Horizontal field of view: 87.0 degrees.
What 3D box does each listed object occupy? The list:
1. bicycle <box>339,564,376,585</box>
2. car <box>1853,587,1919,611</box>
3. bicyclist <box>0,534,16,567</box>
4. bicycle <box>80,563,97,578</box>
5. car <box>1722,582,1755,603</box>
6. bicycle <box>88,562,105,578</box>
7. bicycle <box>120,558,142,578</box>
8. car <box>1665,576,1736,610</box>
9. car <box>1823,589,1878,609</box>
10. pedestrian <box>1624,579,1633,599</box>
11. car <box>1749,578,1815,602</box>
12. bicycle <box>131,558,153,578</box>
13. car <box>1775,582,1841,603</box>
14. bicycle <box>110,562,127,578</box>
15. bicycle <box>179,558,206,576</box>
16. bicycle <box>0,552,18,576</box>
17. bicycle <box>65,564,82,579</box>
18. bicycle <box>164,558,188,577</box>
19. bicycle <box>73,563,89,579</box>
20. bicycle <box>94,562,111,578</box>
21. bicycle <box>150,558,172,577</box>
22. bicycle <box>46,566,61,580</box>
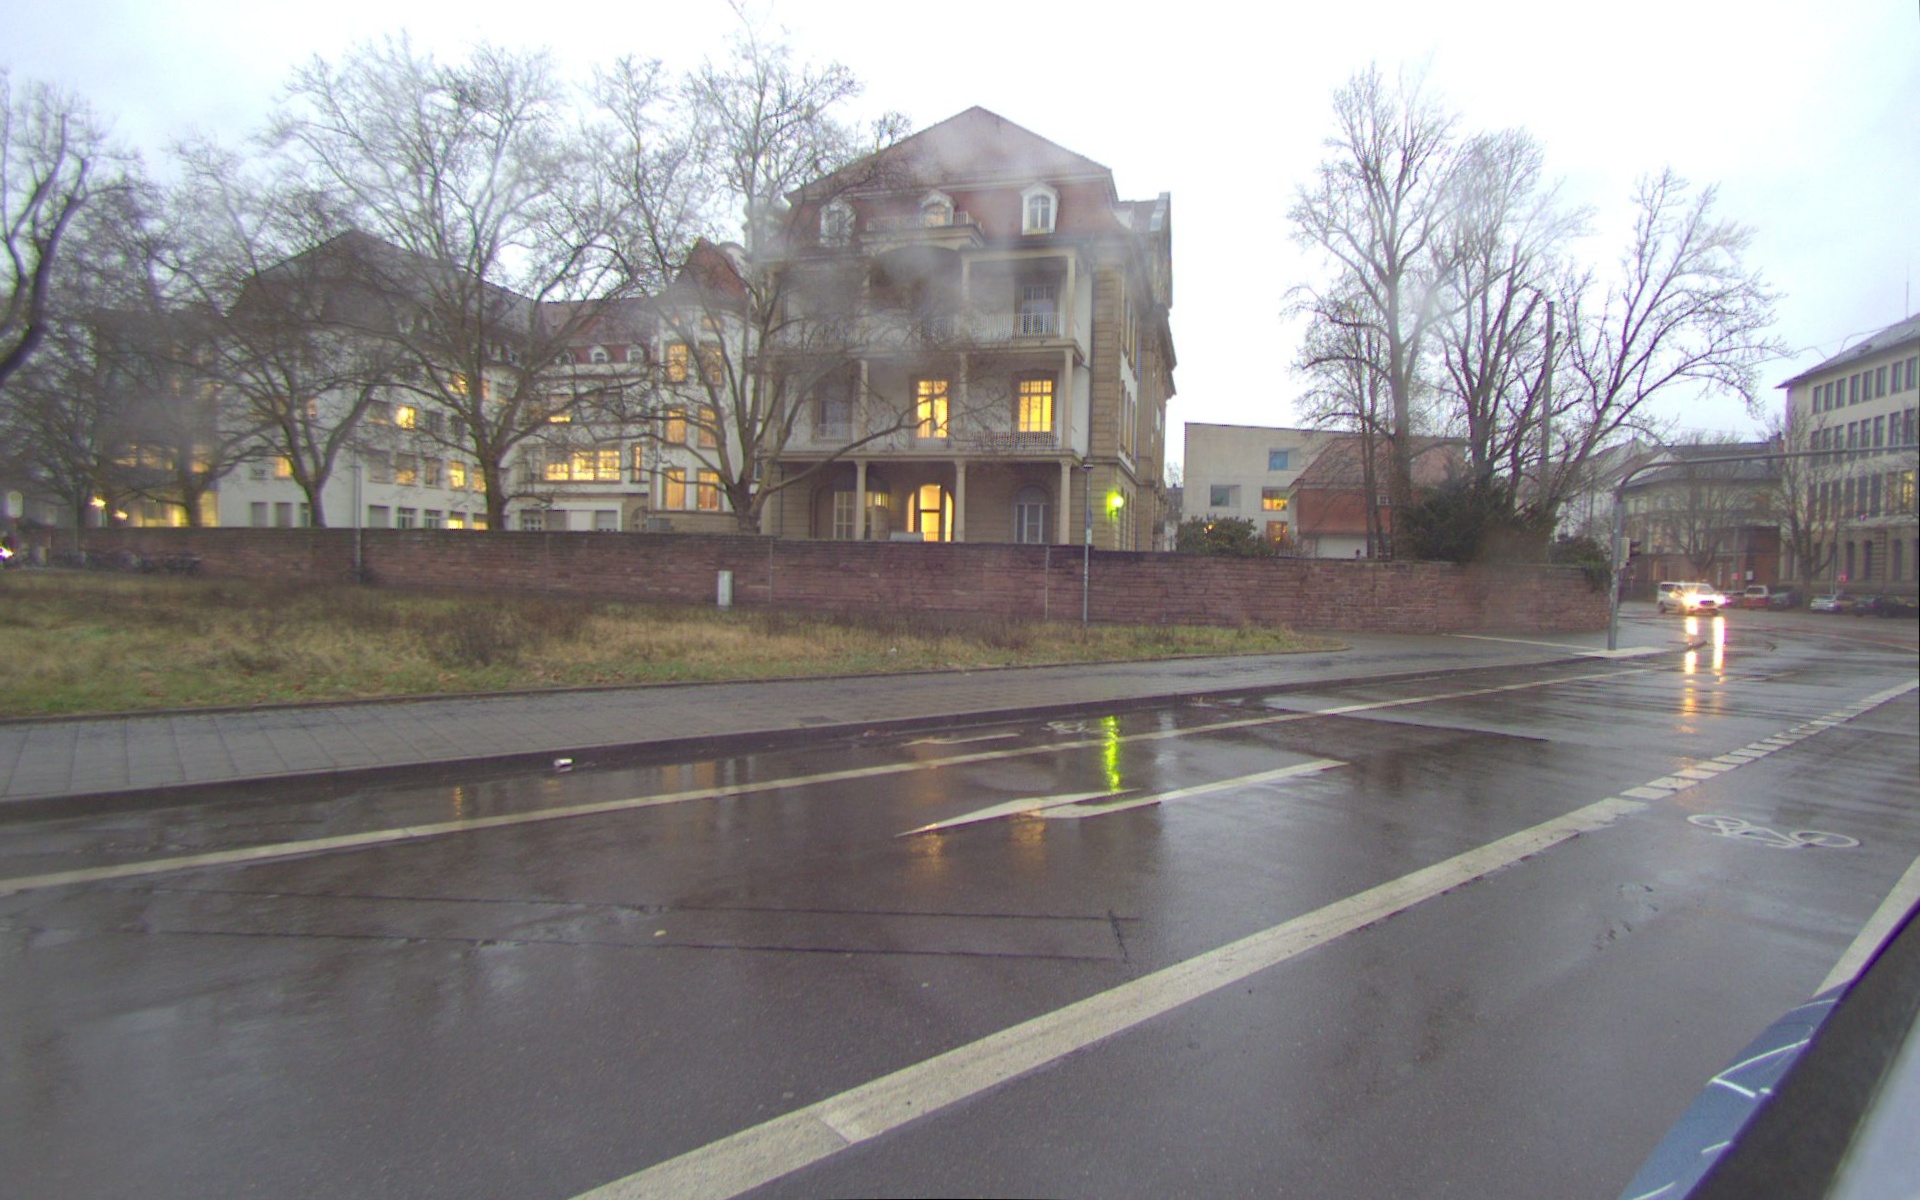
[{"bbox_3d":[-23.378,-0.986,39.269,1.366,0.835,0.392,0,0,14],"label":"bicycle"},{"bbox_3d":[61.968,-0.061,67.008,3.927,1.570,1.800,0,0,4],"label":"car"},{"bbox_3d":[-48.366,-2.488,51.332,0.450,1.662,0.603,0,0,37],"label":"bicyclist"},{"bbox_3d":[-45.436,-1.528,52.738,1.522,0.796,0.389,0,0,38],"label":"bicycle"},{"bbox_3d":[66.485,-0.645,86.390,1.992,1.690,3.940,0,1,42],"label":"car"},{"bbox_3d":[-44.173,-1.526,51.765,1.522,0.796,0.389,0,0,38],"label":"bicycle"},{"bbox_3d":[-39.903,-1.536,48.719,1.519,0.928,0.389,0,0,33],"label":"bicycle"},{"bbox_3d":[46.933,-0.445,64.294,1.971,2.039,4.868,0,0,15],"label":"car"},{"bbox_3d":[63.607,-0.083,72.302,3.568,1.322,1.712,-1,0,-25],"label":"car"},{"bbox_3d":[68.228,-1.141,103.283,0.540,2.038,0.472,2,2,17],"label":"pedestrian"},{"bbox_3d":[64.985,-0.792,80.025,3.916,1.924,2.052,0,0,-13],"label":"car"},{"bbox_3d":[-38.621,-1.504,47.765,1.519,0.869,0.389,0,0,33],"label":"bicycle"},{"bbox_3d":[64.704,-0.586,77.228,3.916,1.570,1.805,0,0,-13],"label":"car"},{"bbox_3d":[-41.469,-1.473,49.874,1.599,0.796,0.388,0,0,41],"label":"bicycle"},{"bbox_3d":[-34.204,-1.465,45.108,1.399,0.796,0.355,0,0,26],"label":"bicycle"},{"bbox_3d":[-48.359,-1.836,51.322,1.670,1.182,0.603,0,0,37],"label":"bicycle"},{"bbox_3d":[-47.890,-1.534,54.671,1.522,0.796,0.389,0,0,38],"label":"bicycle"},{"bbox_3d":[-35.545,-1.465,45.857,1.519,0.796,0.389,0,0,33],"label":"bicycle"},{"bbox_3d":[-46.667,-1.531,53.717,1.522,0.796,0.389,0,0,38],"label":"bicycle"},{"bbox_3d":[-43.126,-1.492,50.894,1.522,0.796,0.389,0,0,38],"label":"bicycle"},{"bbox_3d":[-37.025,-1.494,46.883,1.480,0.849,0.346,0,0,32],"label":"bicycle"},{"bbox_3d":[-51.604,-1.542,57.590,1.522,0.796,0.389,0,0,38],"label":"bicycle"}]
